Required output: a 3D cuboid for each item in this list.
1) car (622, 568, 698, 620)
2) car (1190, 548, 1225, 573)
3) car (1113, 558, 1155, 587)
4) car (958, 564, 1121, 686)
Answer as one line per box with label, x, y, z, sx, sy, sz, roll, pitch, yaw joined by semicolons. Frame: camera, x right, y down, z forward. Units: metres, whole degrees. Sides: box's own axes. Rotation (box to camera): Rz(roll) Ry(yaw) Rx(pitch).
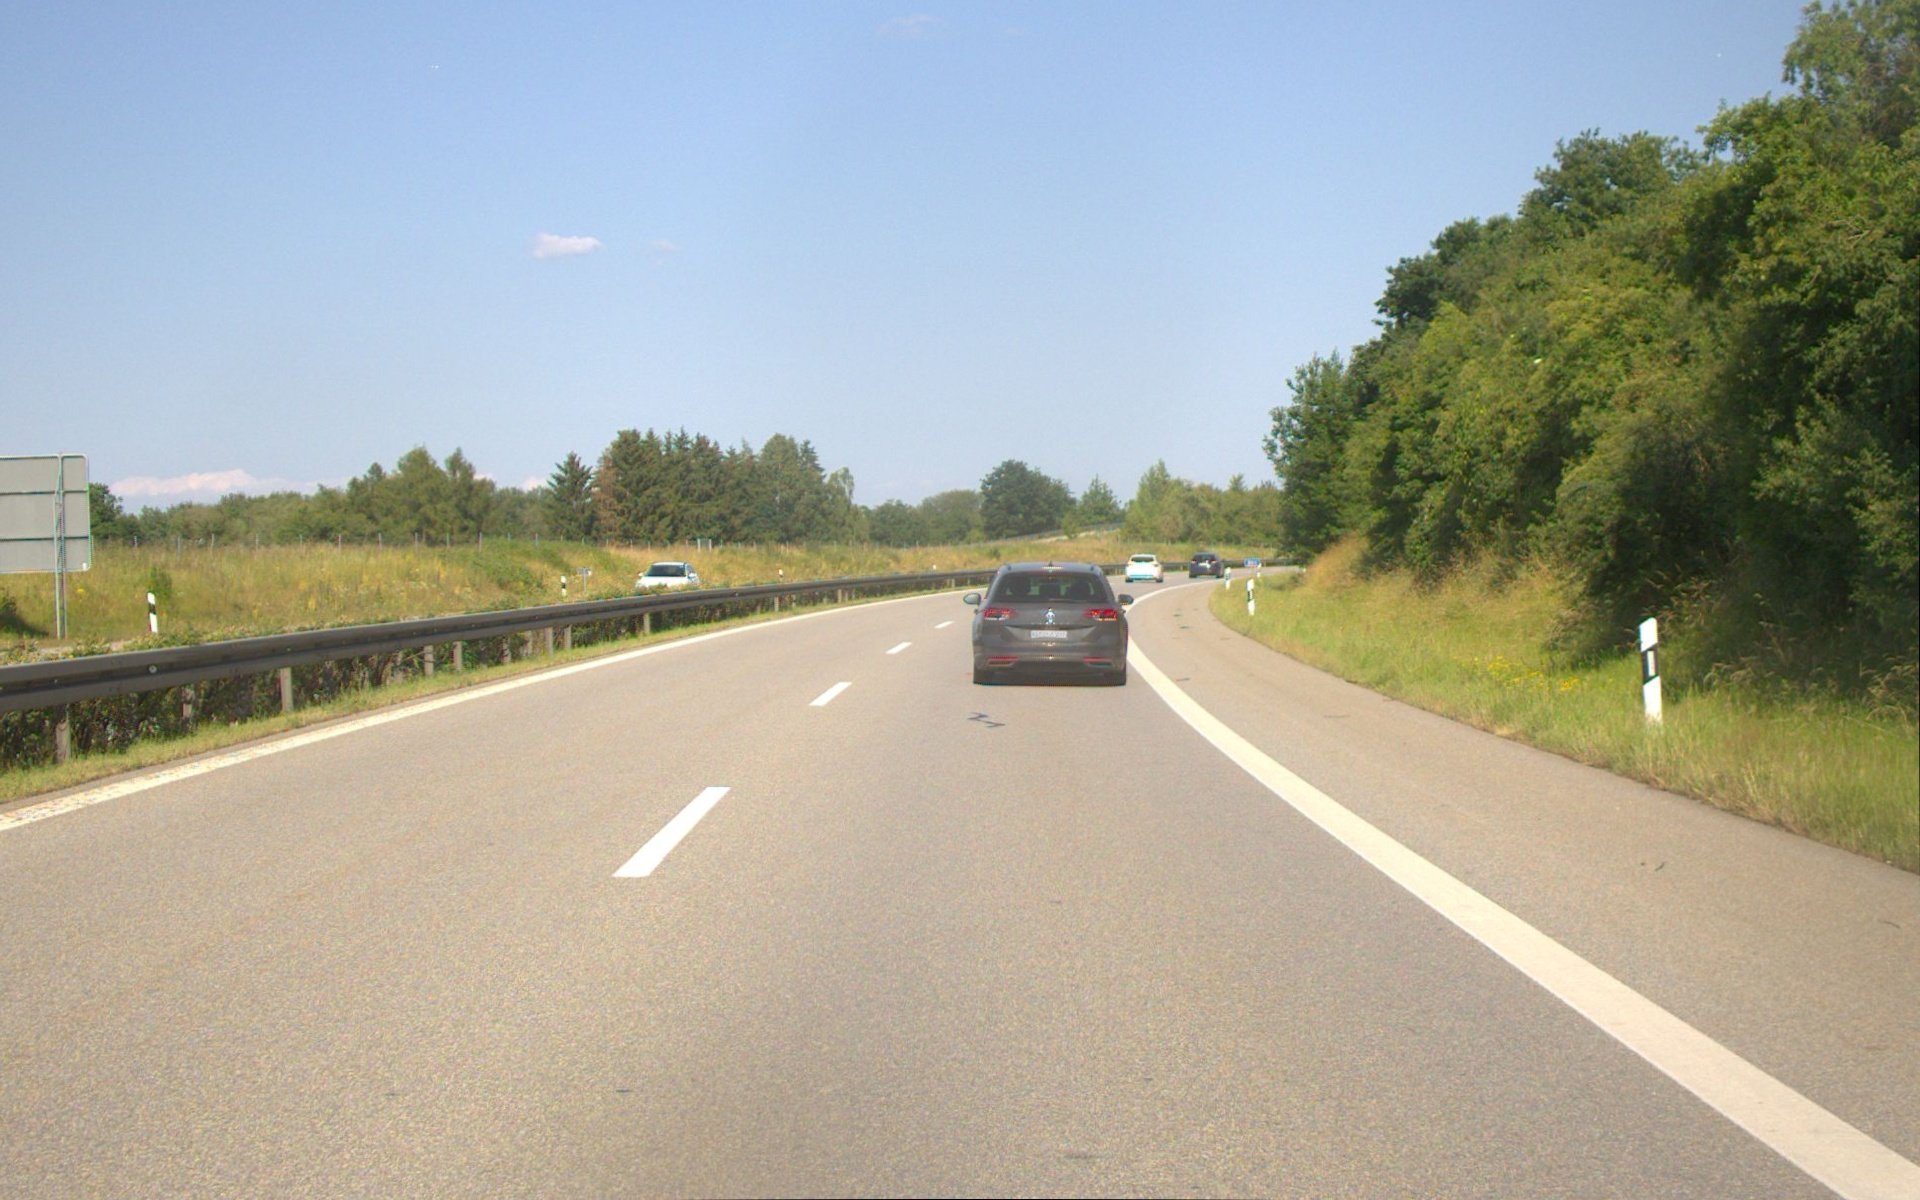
car;-10.492;-0.225;120.519;1.766;1.617;5.008;-3;1;4
car;14.572;-2.299;202.540;1.711;1.382;3.354;1;0;10
car;8.791;-1.389;173.778;2.007;1.340;4.000;1;0;2
car;0.907;0.267;40.405;1.791;1.340;4.000;1;0;1
